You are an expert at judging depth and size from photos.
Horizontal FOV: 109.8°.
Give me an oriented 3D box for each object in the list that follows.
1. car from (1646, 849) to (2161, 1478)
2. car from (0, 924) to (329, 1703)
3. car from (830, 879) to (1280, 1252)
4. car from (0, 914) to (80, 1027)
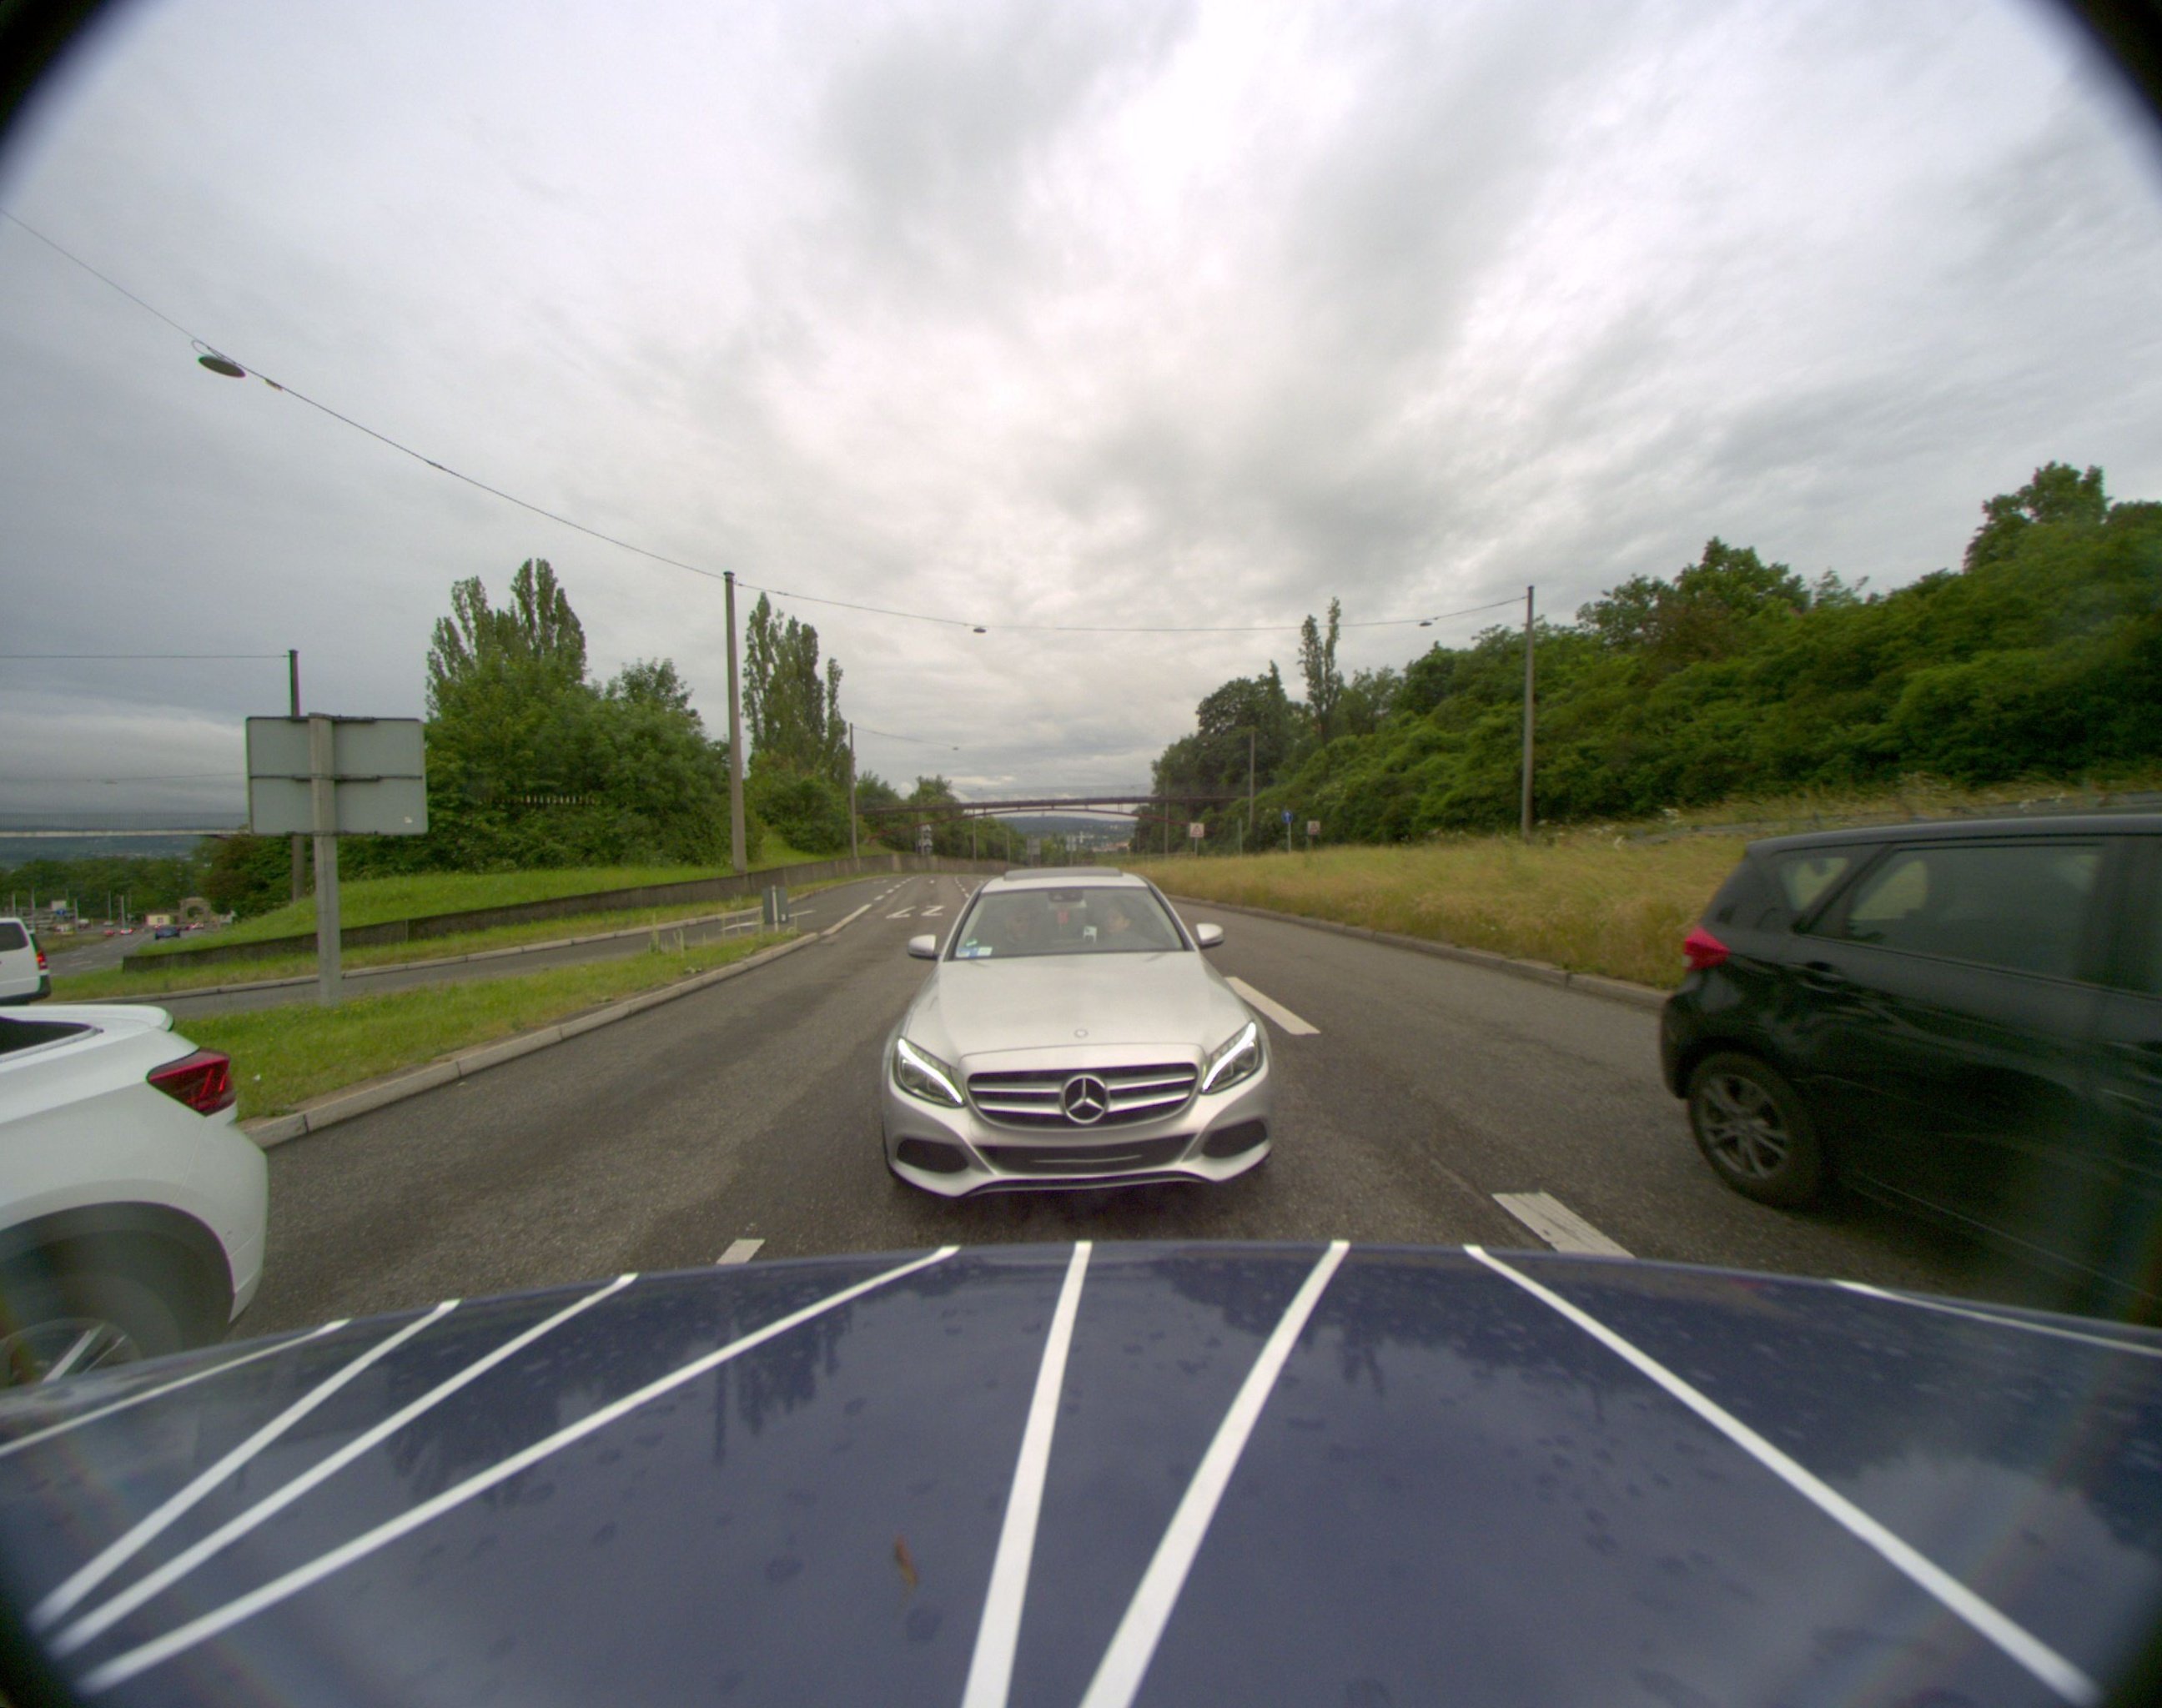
[{"bbox_3d":[3.463,0.760,1.629,1.646,1.495,3.778,-3,0,0],"label":"car"},{"bbox_3d":[-3.094,1.046,0.127,1.718,1.544,4.228,-2,1,-1],"label":"car"},{"bbox_3d":[-0.070,0.986,5.330,1.894,1.361,4.134,-2,1,1],"label":"car"},{"bbox_3d":[-20.854,2.211,12.992,4.819,1.837,2.000,-4,0,2],"label":"car"}]
